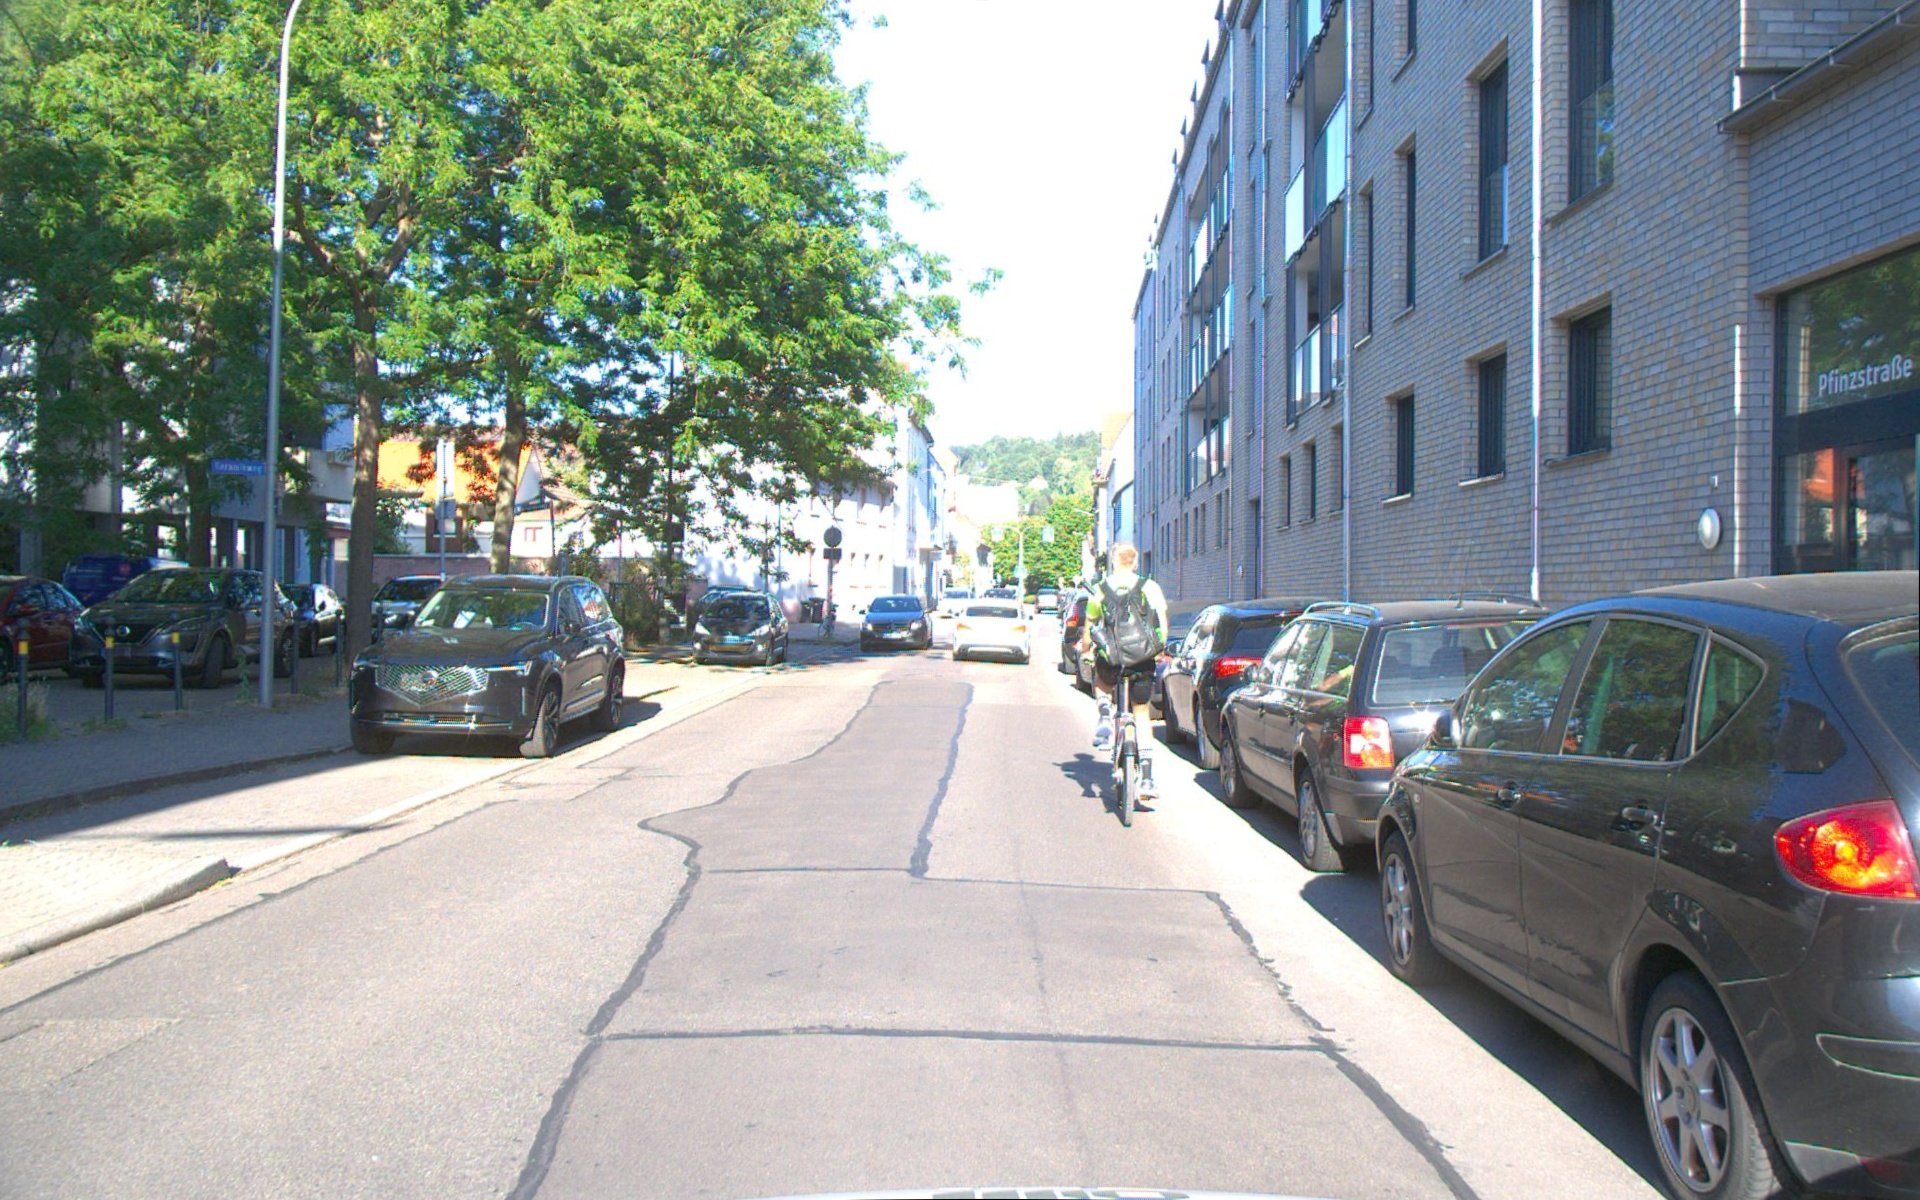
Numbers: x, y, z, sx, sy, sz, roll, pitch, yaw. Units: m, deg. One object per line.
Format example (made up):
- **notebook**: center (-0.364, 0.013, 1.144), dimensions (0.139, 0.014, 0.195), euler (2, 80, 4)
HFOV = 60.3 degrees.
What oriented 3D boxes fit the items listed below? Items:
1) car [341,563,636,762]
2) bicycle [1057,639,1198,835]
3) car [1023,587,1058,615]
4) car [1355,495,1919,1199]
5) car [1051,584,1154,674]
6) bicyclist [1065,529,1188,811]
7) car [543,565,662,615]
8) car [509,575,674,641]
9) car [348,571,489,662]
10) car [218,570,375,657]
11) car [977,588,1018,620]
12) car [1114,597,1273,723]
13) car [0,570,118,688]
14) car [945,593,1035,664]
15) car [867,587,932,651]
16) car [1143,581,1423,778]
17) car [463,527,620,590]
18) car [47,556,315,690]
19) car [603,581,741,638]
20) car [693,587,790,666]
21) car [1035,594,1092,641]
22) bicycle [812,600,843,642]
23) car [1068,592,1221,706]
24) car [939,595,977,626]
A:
- **car**: center (-4.868, 0.577, 17.798), dimensions (1.815, 1.823, 4.607), euler (1, 0, 0)
- **bicycle**: center (1.104, 0.873, 11.385), dimensions (0.684, 1.150, 2.402), euler (2, -1, 0)
- **car**: center (5.426, 0.074, 111.979), dimensions (1.816, 1.823, 4.604), euler (1, 0, -3)
- **car**: center (2.612, 0.663, 5.362), dimensions (1.630, 1.732, 3.913), euler (1, 0, -1)
- **car**: center (2.991, 0.589, 35.531), dimensions (1.819, 1.732, 4.621), euler (-2, 0, 1)
- **bicyclist**: center (1.122, 0.462, 11.327), dimensions (0.684, 1.821, 1.040), euler (1, -1, 0)
- **car**: center (-12.188, -0.341, 56.610), dimensions (3.828, 1.603, 1.706), euler (1, 0, -9)
- **car**: center (-9.569, 0.203, 43.122), dimensions (3.818, 1.603, 1.711), euler (1, 0, 6)
- **car**: center (-11.285, 0.316, 34.737), dimensions (1.754, 1.719, 3.963), euler (3, 0, -3)
- **car**: center (-13.739, 0.261, 34.471), dimensions (1.820, 1.614, 3.670), euler (3, 0, -2)
- **car**: center (2.009, 0.226, 87.950), dimensions (1.904, 1.615, 4.623), euler (-2, 0, 4)
- **car**: center (2.981, 0.730, 21.724), dimensions (1.477, 1.469, 3.528), euler (-2, 0, -1)
- **car**: center (-13.347, 0.347, 22.594), dimensions (1.684, 1.474, 4.141), euler (3, 0, -3)
- **car**: center (0.644, 0.645, 38.380), dimensions (1.805, 1.517, 4.142), euler (2, 0, -3)
- **car**: center (-1.620, 0.484, 44.574), dimensions (1.631, 1.603, 3.912), euler (1, 0, -2)
- **car**: center (2.983, 0.674, 16.255), dimensions (1.819, 1.615, 4.621), euler (1, 0, 0)
- **car**: center (-11.576, -1.132, 45.892), dimensions (3.819, 1.603, 1.710), euler (1, 0, 4)
- **car**: center (-10.848, 0.278, 23.453), dimensions (1.821, 1.614, 4.617), euler (3, 0, -4)
- **car**: center (-8.705, 0.273, 50.229), dimensions (3.820, 1.603, 1.710), euler (1, 0, 1)
- **car**: center (-4.733, 0.541, 36.276), dimensions (1.670, 1.603, 3.912), euler (1, 0, -2)
- **car**: center (3.790, 0.647, 61.304), dimensions (1.819, 1.615, 4.621), euler (-2, 0, 1)
- **bicycle**: center (-4.099, 0.621, 51.339), dimensions (0.818, 1.239, 2.841), euler (1, 0, -2)
- **car**: center (2.867, 0.726, 26.648), dimensions (1.820, 1.615, 4.620), euler (-2, 0, -1)
- **car**: center (-0.082, 0.595, 92.062), dimensions (1.905, 1.615, 4.622), euler (-2, 0, 2)
